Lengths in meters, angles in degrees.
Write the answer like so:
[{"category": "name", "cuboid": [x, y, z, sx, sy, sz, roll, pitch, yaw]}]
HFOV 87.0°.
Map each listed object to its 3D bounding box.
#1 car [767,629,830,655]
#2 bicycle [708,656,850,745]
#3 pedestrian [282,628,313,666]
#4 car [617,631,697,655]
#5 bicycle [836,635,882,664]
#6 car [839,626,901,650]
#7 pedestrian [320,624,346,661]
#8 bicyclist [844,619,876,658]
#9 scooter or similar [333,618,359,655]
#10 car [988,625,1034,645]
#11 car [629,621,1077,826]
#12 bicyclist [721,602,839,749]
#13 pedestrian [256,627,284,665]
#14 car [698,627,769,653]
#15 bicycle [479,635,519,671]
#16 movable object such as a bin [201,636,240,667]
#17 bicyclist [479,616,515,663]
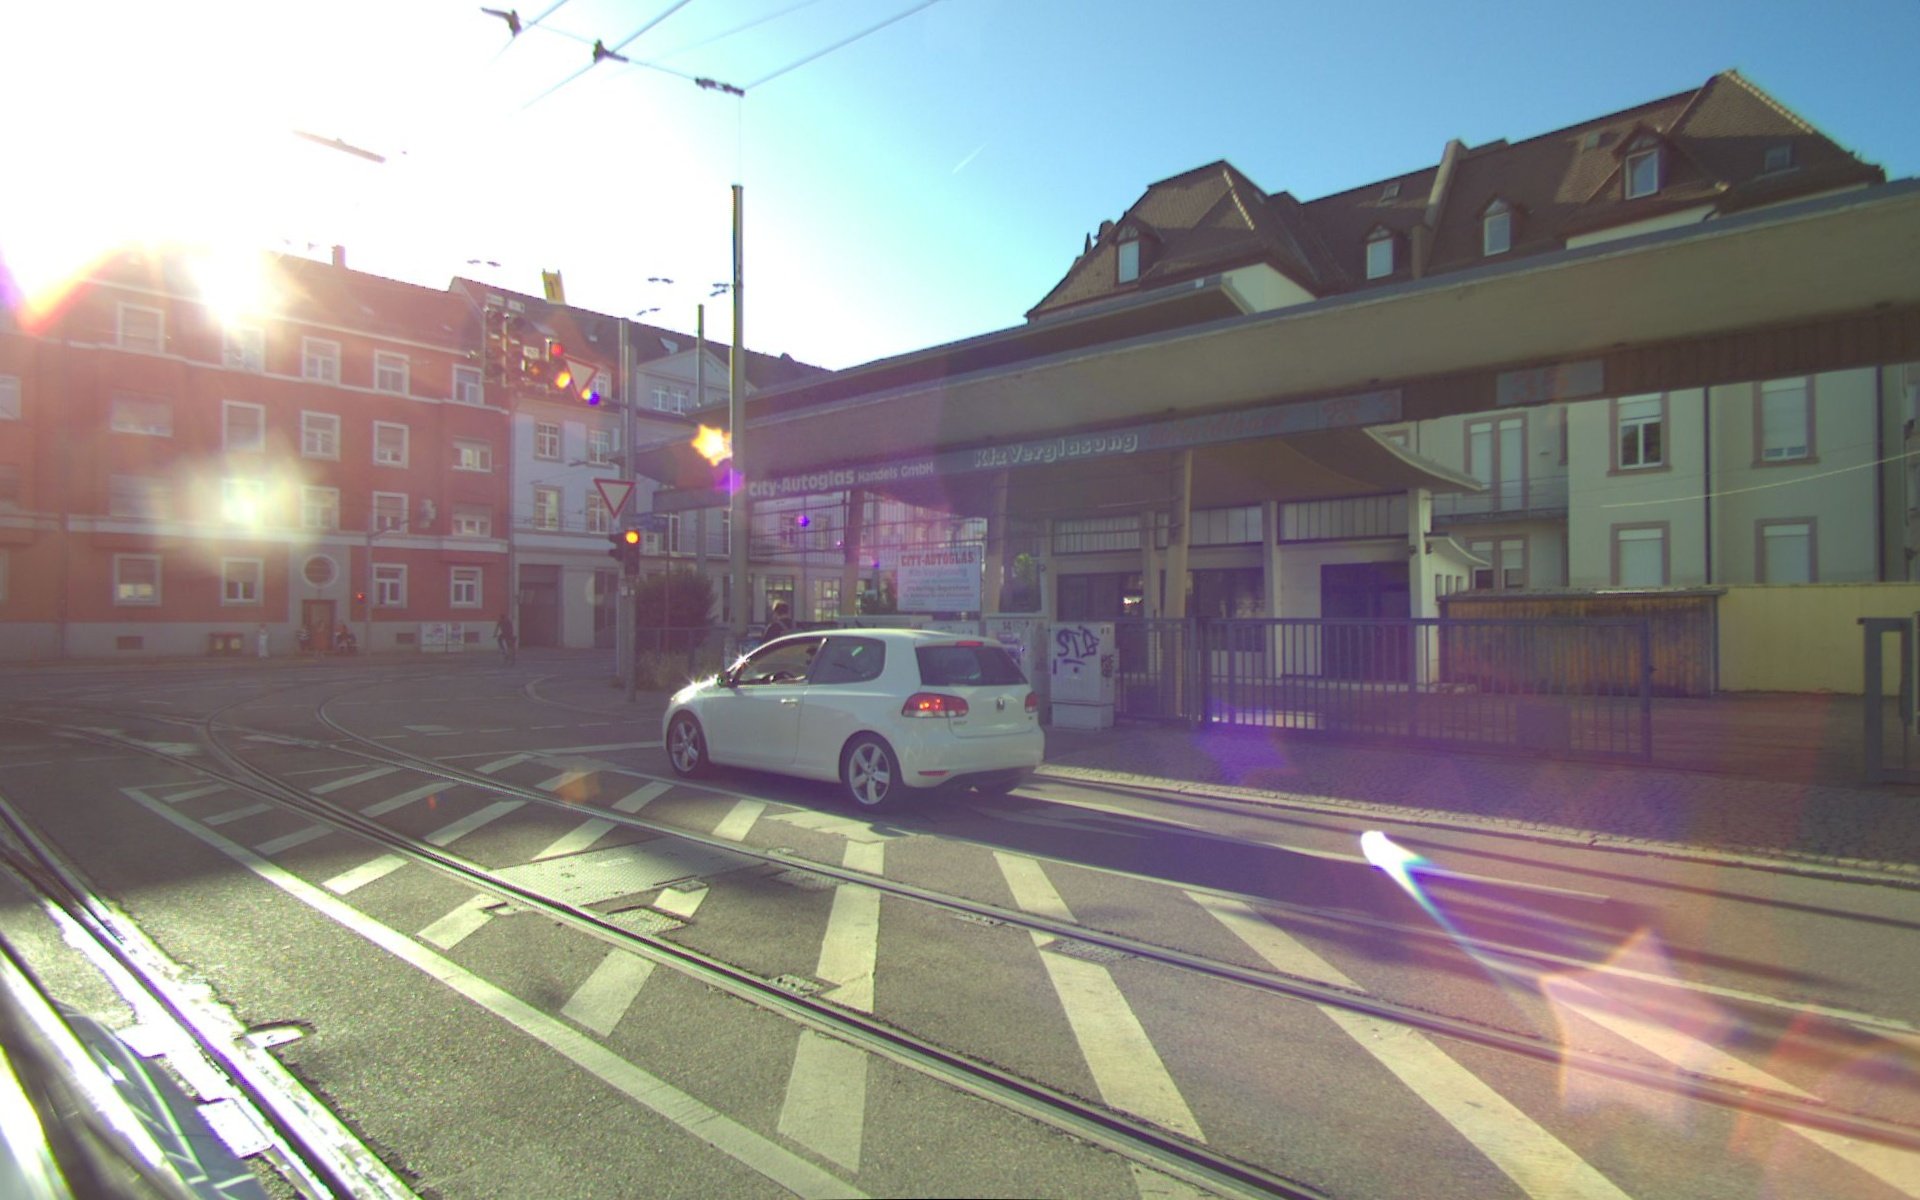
[{"category": "car", "cuboid": [-10.205, 2.653, 64.092, 1.723, 1.564, 3.804, -2, -2, 40]}, {"category": "bicycle", "cuboid": [-2.384, 1.268, 13.176, 2.047, 1.025, 0.717, -2, -3, 42]}, {"category": "pedestrian", "cuboid": [-29.330, 2.063, 44.834, 0.820, 1.645, 0.795, 0, -2, 3]}, {"category": "car", "cuboid": [-16.742, 2.361, 56.008, 1.723, 1.242, 3.946, -2, -2, 40]}, {"category": "bicycle", "cuboid": [-4.007, 1.962, 40.195, 0.772, 1.094, 1.846, -1, -2, 39]}, {"category": "car", "cuboid": [-6.129, 2.573, 69.405, 1.840, 1.564, 4.216, -2, -2, 40]}, {"category": "pedestrian", "cuboid": [-28.542, 1.926, 46.091, 0.647, 1.645, 0.793, 0, -2, 8]}, {"category": "bicyclist", "cuboid": [-3.981, 1.510, 40.232, 0.978, 1.537, 0.837, 2, -2, -42]}, {"category": "scooter or similar", "cuboid": [-27.916, 1.643, 45.992, 0.647, 1.645, 0.793, 0, -2, 8]}, {"category": "car", "cuboid": [4.152, 2.800, 81.605, 1.723, 1.564, 3.946, -2, -2, 40]}, {"category": "car", "cuboid": [-1.145, 0.970, 9.362, 4.189, 1.469, 1.771, -2, -4, 42]}, {"category": "bicyclist", "cuboid": [-2.337, 0.946, 13.157, 1.251, 1.800, 0.900, -2, -2, 36]}, {"category": "pedestrian", "cuboid": [-29.993, 1.979, 43.980, 0.789, 1.645, 0.650, -1, -2, 19]}, {"category": "car", "cuboid": [-13.490, 2.378, 60.480, 1.723, 1.463, 3.946, -2, -2, 40]}, {"category": "bicycle", "cuboid": [-15.318, 1.730, 33.629, 0.881, 1.134, 2.071, 1, -2, -33]}, {"category": "movable object such as a bin", "cuboid": [-31.413, 2.173, 42.986, 1.215, 1.259, 0.874, 2, -3, -43]}, {"category": "bicyclist", "cuboid": [-15.396, 1.311, 33.656, 0.865, 1.538, 1.053, 1, -2, -39]}]
